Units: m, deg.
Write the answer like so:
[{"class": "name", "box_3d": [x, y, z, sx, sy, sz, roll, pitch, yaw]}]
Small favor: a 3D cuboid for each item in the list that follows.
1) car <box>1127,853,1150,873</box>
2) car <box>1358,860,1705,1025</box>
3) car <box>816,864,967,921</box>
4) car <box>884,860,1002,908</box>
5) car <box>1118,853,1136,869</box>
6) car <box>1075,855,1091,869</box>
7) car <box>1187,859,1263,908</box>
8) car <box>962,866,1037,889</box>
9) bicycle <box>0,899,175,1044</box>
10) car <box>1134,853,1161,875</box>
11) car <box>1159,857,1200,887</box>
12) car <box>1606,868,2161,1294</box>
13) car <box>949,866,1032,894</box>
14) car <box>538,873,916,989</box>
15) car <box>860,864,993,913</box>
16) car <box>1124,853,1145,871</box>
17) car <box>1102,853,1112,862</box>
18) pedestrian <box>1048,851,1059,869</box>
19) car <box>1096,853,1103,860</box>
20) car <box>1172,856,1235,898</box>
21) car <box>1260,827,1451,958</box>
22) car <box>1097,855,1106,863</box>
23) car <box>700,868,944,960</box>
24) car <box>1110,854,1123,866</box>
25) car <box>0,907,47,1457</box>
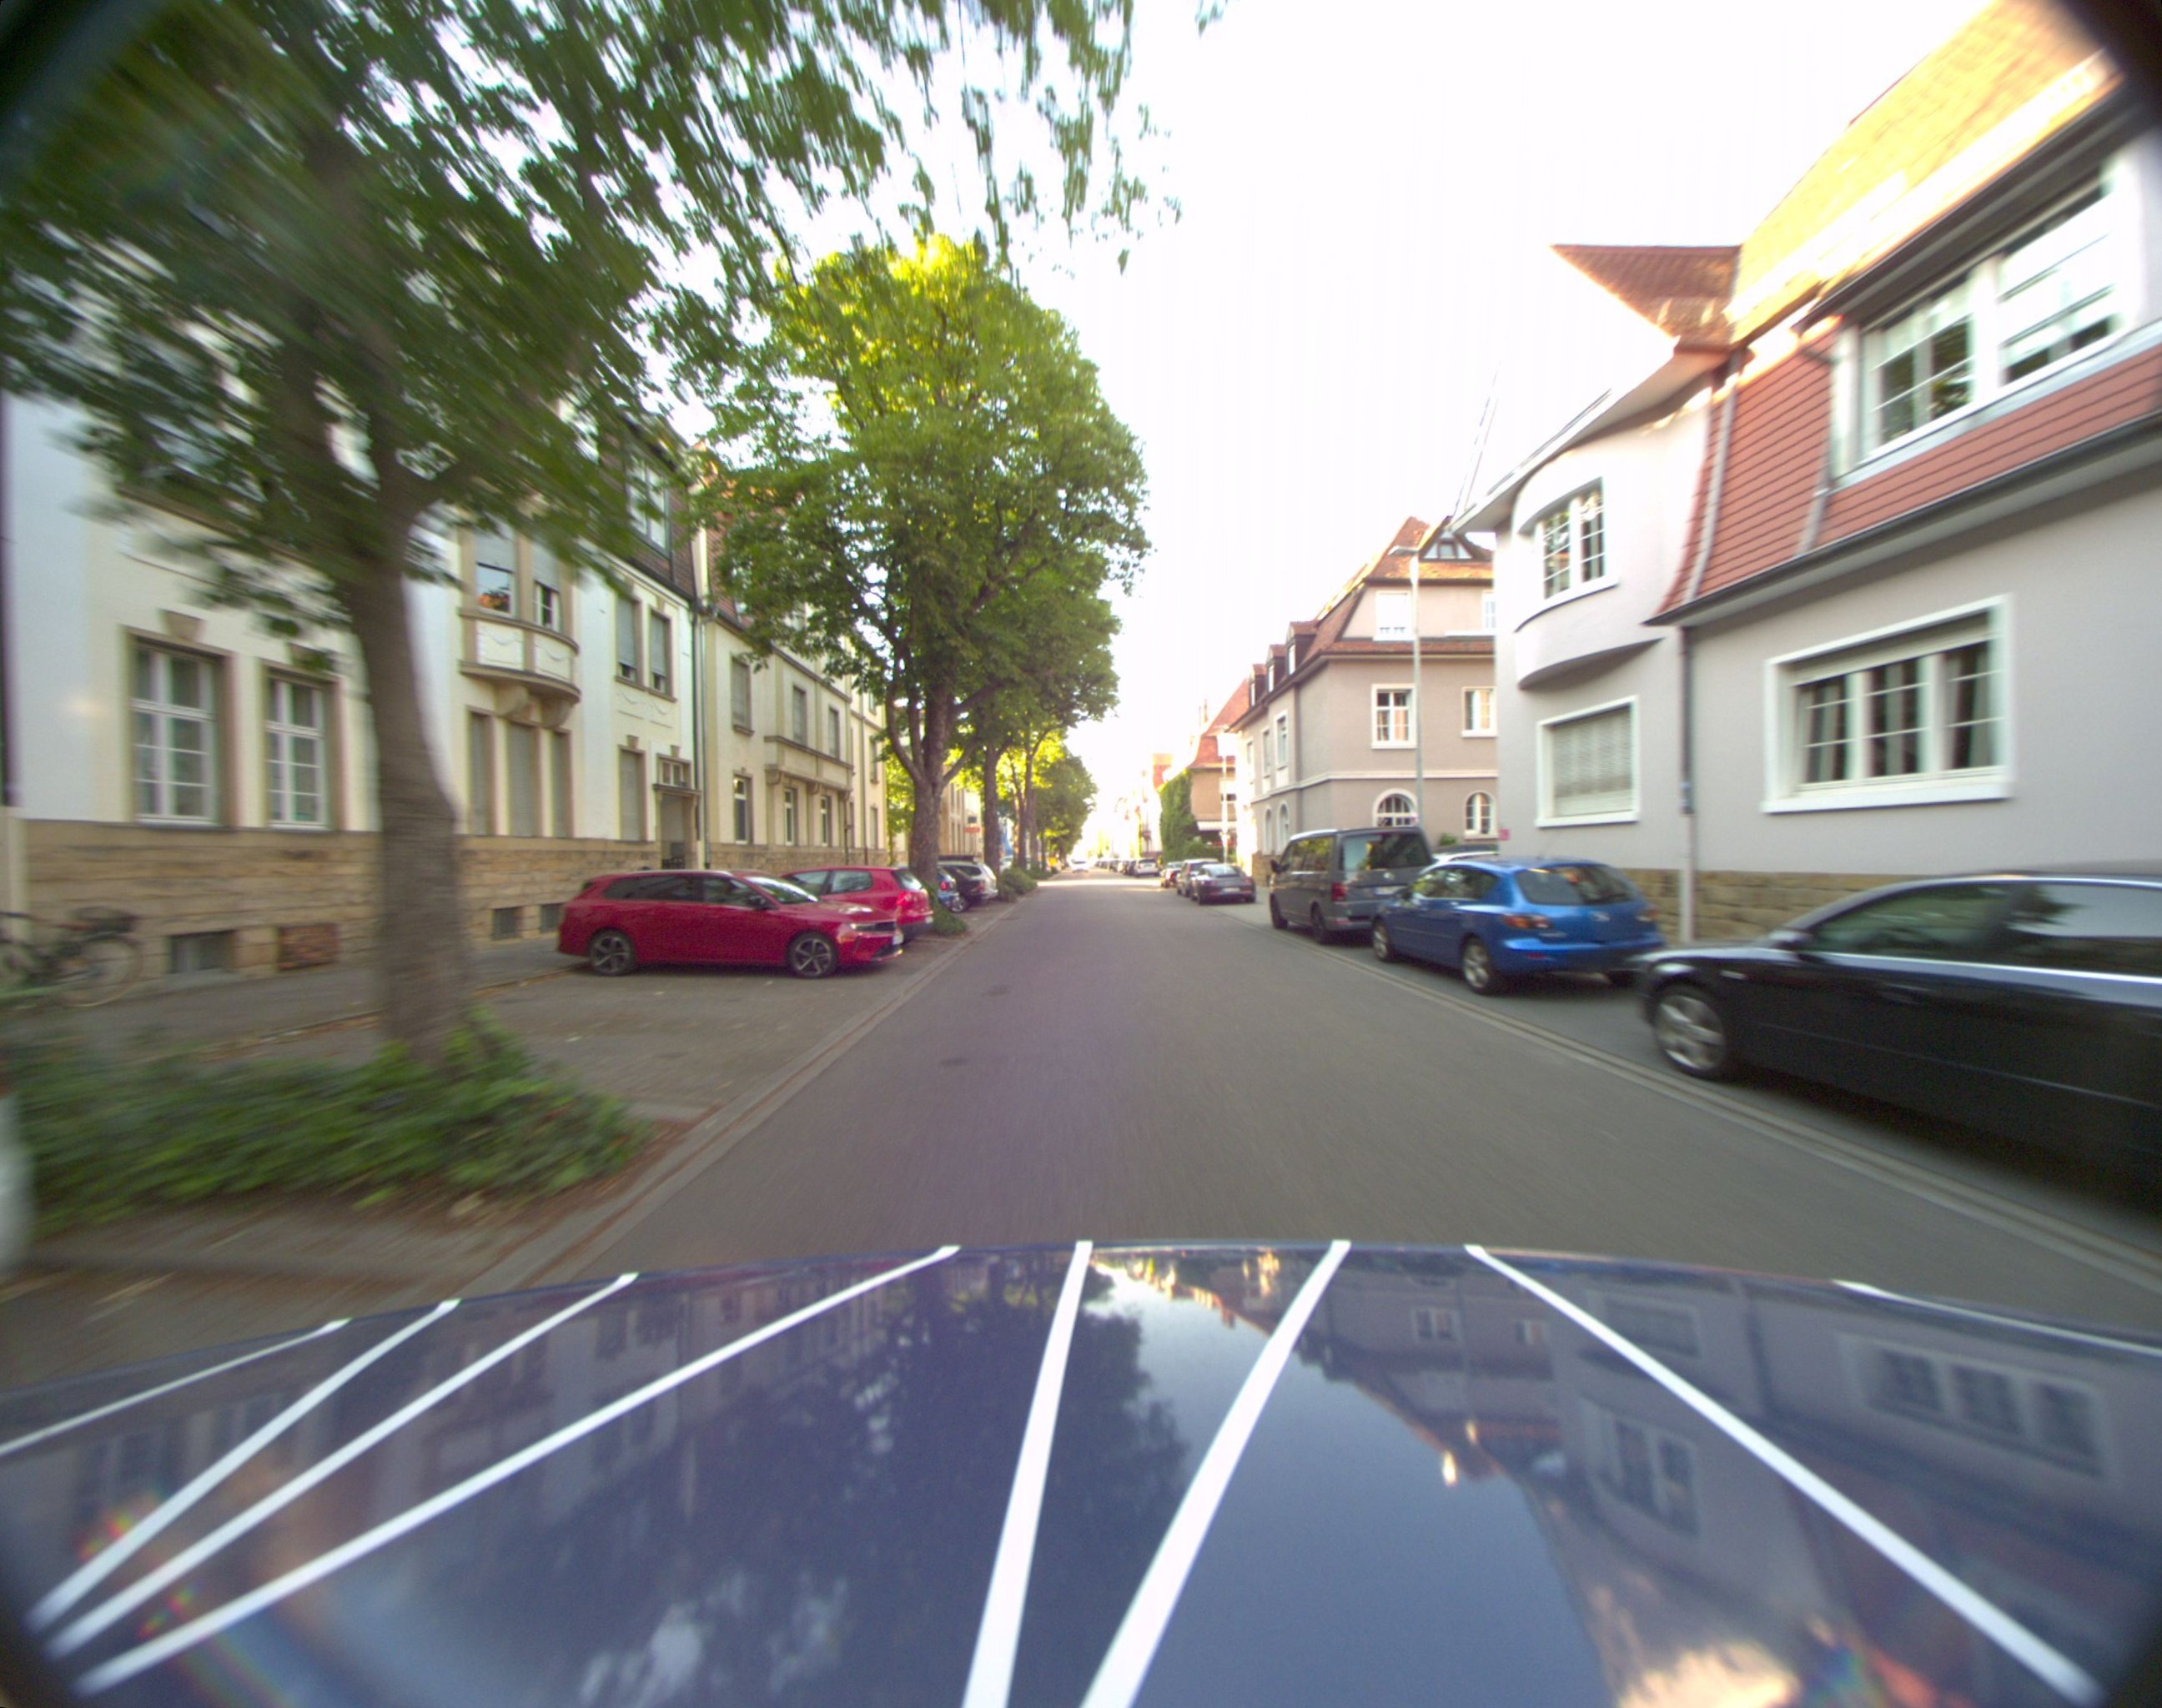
[{"class": "car", "box_3d": [4.853, 0.741, 64.176, 1.699, 1.520, 3.677, -3, 0, 1]}, {"class": "car", "box_3d": [5.017, 0.859, 9.242, 1.768, 1.438, 4.062, -3, 0, 0]}, {"class": "car", "box_3d": [-5.054, 1.005, 20.572, 3.680, 1.457, 1.576, 0, 0, 2]}, {"class": "car", "box_3d": [-4.610, 0.981, 25.702, 3.680, 1.548, 1.576, 0, 0, 2]}, {"class": "car", "box_3d": [4.814, 0.704, 79.921, 1.699, 1.520, 3.677, -3, 0, 1]}, {"class": "car", "box_3d": [0.234, 0.922, 87.815, 1.819, 1.454, 4.073, -2, 0, 1]}, {"class": "car", "box_3d": [4.733, 0.931, 25.567, 1.932, 1.376, 4.063, -3, 0, 3]}, {"class": "car", "box_3d": [-3.888, 1.137, 36.507, 3.399, 1.057, 1.542, 0, 0, 2]}, {"class": "bicycle", "box_3d": [-9.592, 1.042, 7.010, 0.694, 1.153, 1.475, 1, 0, 0]}, {"class": "car", "box_3d": [4.969, 0.719, 56.911, 1.699, 1.558, 3.677, -3, 0, 1]}, {"class": "car", "box_3d": [5.056, 0.910, 39.286, 1.662, 1.354, 3.677, -3, 0, 1]}, {"class": "car", "box_3d": [4.883, 0.870, 3.519, 1.806, 1.438, 4.428, -3, 0, 0]}, {"class": "car", "box_3d": [-3.926, 1.120, 33.233, 3.399, 1.143, 1.542, 0, 0, 2]}, {"class": "car", "box_3d": [-4.839, 1.021, 10.837, 4.530, 1.443, 1.868, 0, 0, 3]}, {"class": "car", "box_3d": [-4.636, 1.028, 23.113, 3.680, 1.390, 1.576, 0, 0, 2]}, {"class": "car", "box_3d": [4.888, 0.726, 69.670, 1.699, 1.520, 3.677, -3, 0, 1]}, {"class": "car", "box_3d": [4.757, 0.701, 138.032, 1.699, 1.520, 3.677, -3, 0, 1]}, {"class": "pedestrian", "box_3d": [-3.105, 0.680, 87.010, 1.119, 1.926, 1.097, -3, 0, -1]}, {"class": "car", "box_3d": [4.656, 0.576, 191.628, 1.699, 1.520, 3.677, -3, 0, 1]}, {"class": "car", "box_3d": [4.933, 0.881, 31.045, 1.932, 1.458, 4.062, -3, 0, 1]}, {"class": "car", "box_3d": [4.862, 0.605, 14.255, 1.842, 1.963, 4.612, -3, 0, 0]}, {"class": "car", "box_3d": [4.415, 1.085, 162.200, 1.699, 1.520, 3.677, -3, 0, 1]}, {"class": "car", "box_3d": [-4.419, 0.991, 13.327, 3.680, 1.473, 1.659, 0, 0, 3]}, {"class": "car", "box_3d": [4.907, 0.772, 104.771, 1.699, 1.520, 3.677, -3, 0, 1]}, {"class": "car", "box_3d": [-5.063, 0.944, 1.384, 3.950, 1.568, 1.719, 0, 0, 0]}]
